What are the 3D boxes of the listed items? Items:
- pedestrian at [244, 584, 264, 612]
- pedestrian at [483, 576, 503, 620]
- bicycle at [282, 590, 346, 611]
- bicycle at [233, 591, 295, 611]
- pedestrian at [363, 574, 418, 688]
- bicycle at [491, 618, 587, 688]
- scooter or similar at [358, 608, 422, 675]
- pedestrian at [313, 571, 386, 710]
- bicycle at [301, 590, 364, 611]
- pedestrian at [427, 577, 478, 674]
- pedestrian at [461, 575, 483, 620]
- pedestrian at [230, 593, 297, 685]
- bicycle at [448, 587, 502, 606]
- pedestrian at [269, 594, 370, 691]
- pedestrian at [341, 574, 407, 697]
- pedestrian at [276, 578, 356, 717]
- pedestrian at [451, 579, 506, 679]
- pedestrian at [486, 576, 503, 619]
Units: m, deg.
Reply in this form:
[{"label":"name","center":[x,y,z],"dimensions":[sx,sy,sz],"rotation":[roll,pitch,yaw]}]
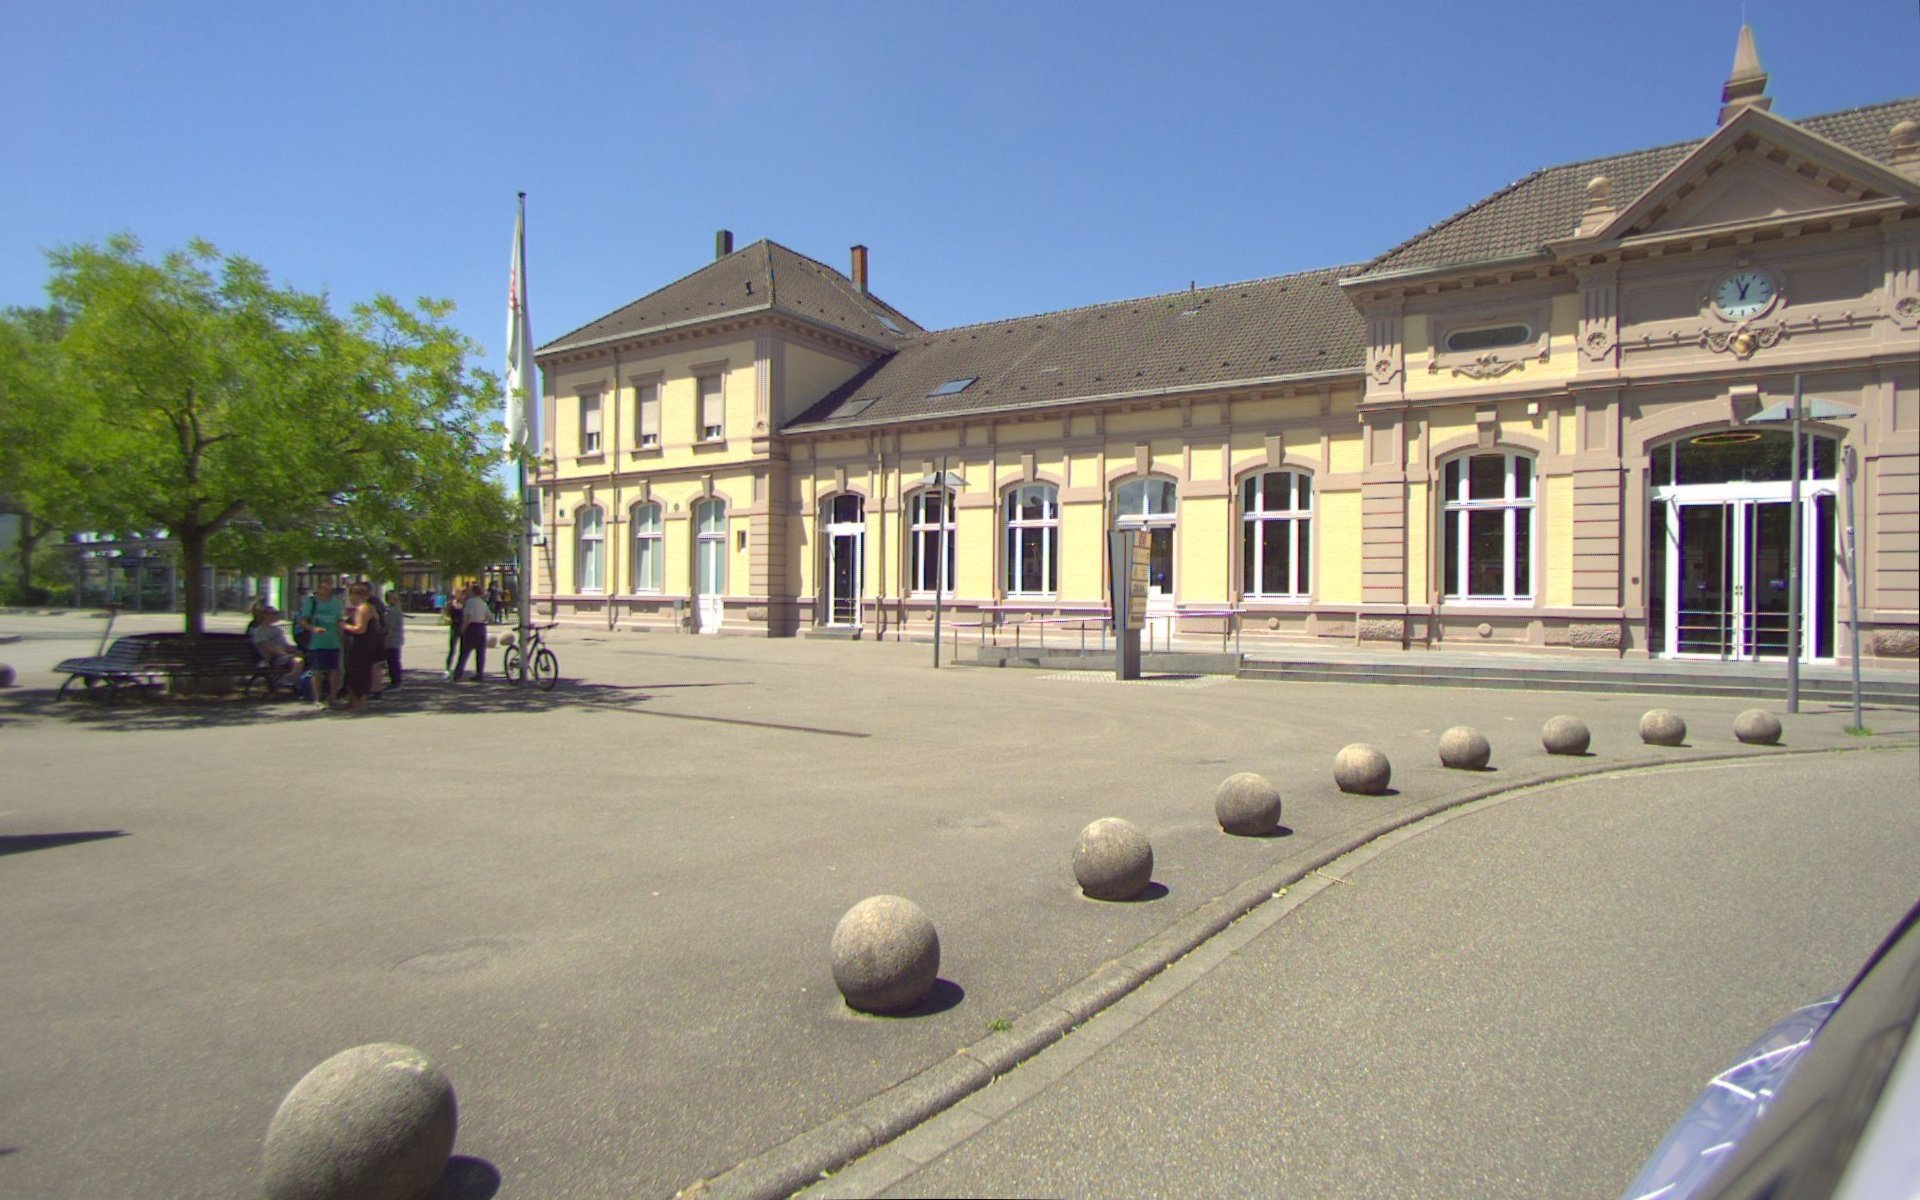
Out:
[{"label":"pedestrian","center":[-36.230,-0.101,51.949],"dimensions":[0.671,1.412,0.620],"rotation":[0,1,33]},{"label":"pedestrian","center":[-19.552,-0.081,42.380],"dimensions":[0.620,1.832,0.596],"rotation":[1,0,-36]},{"label":"bicycle","center":[-34.469,0.036,54.053],"dimensions":[0.804,1.017,2.764],"rotation":[0,-2,30]},{"label":"bicycle","center":[-39.364,0.043,57.271],"dimensions":[0.804,1.017,2.764],"rotation":[0,-2,30]},{"label":"pedestrian","center":[-8.941,0.478,15.897],"dimensions":[0.560,1.762,0.511],"rotation":[1,0,4]},{"label":"bicycle","center":[-7.017,0.861,16.836],"dimensions":[1.933,1.073,0.417],"rotation":[0,0,31]},{"label":"scooter or similar","center":[-10.137,0.721,18.017],"dimensions":[0.291,1.153,1.019],"rotation":[0,0,25]},{"label":"pedestrian","center":[-7.982,0.516,13.252],"dimensions":[0.538,1.762,0.626],"rotation":[1,0,7]},{"label":"bicycle","center":[-33.191,0.046,53.570],"dimensions":[0.804,1.017,2.764],"rotation":[0,-2,30]},{"label":"pedestrian","center":[-9.055,0.440,18.070],"dimensions":[0.580,1.706,0.551],"rotation":[0,0,21]},{"label":"pedestrian","center":[-20.320,-0.104,42.134],"dimensions":[0.677,1.832,0.631],"rotation":[1,0,-36]},{"label":"pedestrian","center":[-10.756,0.591,15.638],"dimensions":[0.589,1.381,0.598],"rotation":[1,0,5]},{"label":"bicycle","center":[-28.245,-0.187,59.025],"dimensions":[0.959,1.017,2.764],"rotation":[0,-2,30]},{"label":"pedestrian","center":[-9.618,0.620,15.228],"dimensions":[0.927,1.403,0.912],"rotation":[1,0,3]},{"label":"pedestrian","center":[-8.584,0.509,14.841],"dimensions":[0.590,1.762,0.584],"rotation":[1,0,8]},{"label":"pedestrian","center":[-8.557,0.611,13.463],"dimensions":[0.575,1.786,0.692],"rotation":[1,0,7]},{"label":"pedestrian","center":[-8.403,0.495,17.671],"dimensions":[0.584,1.706,0.615],"rotation":[0,0,21]},{"label":"pedestrian","center":[-19.784,-0.102,42.999],"dimensions":[0.541,1.832,0.498],"rotation":[1,0,-37]}]
